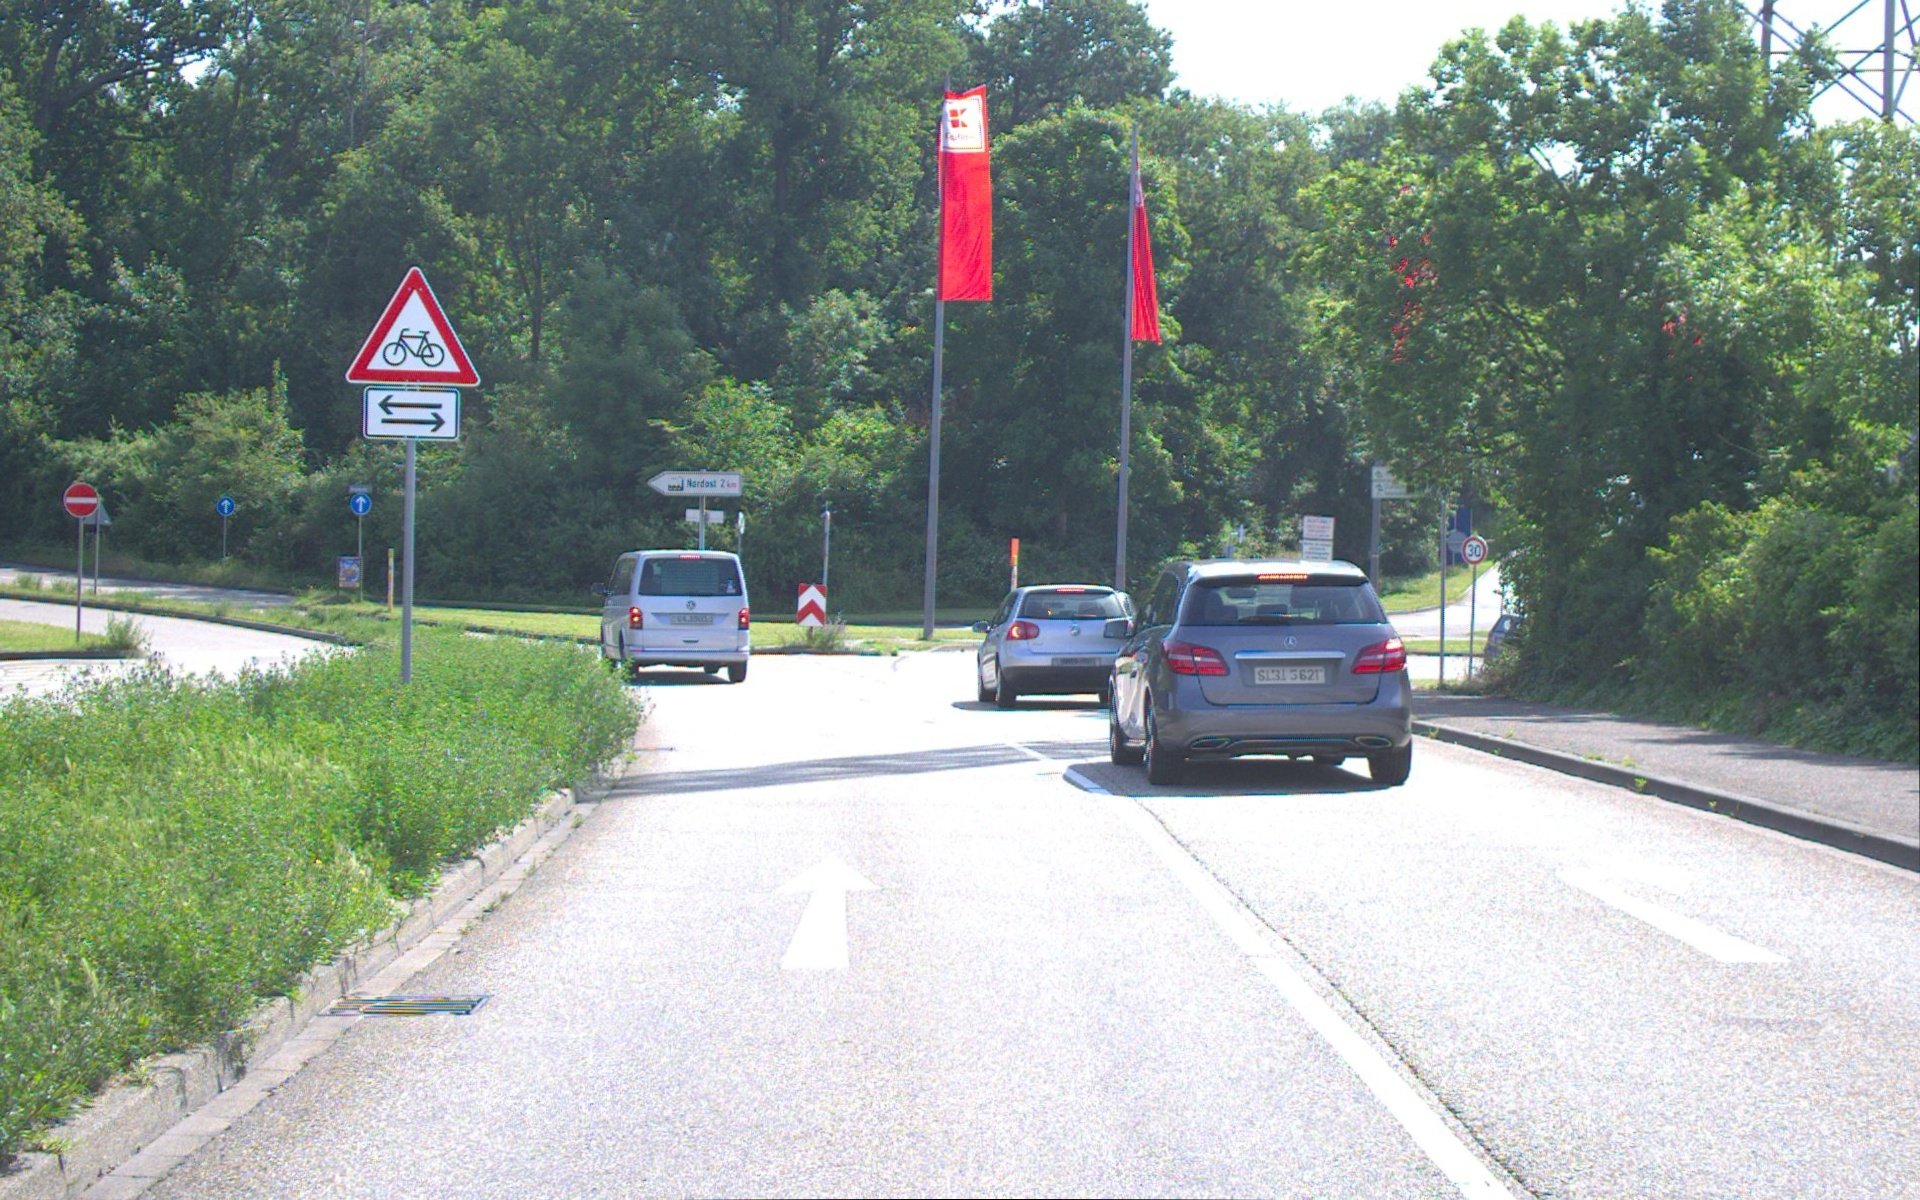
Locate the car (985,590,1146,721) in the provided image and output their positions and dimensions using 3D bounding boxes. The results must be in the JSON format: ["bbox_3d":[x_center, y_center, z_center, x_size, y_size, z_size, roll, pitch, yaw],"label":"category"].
[{"bbox_3d":[1.253,0.645,42.273,1.856,1.524,4.144,0,0,0],"label":"car"}]

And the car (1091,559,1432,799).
[{"bbox_3d":[2.048,0.513,24.464,1.856,1.524,4.144,-1,0,-2],"label":"car"}]

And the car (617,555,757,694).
[{"bbox_3d":[-4.141,0.334,52.168,2.039,2.007,4.001,0,1,-5],"label":"car"}]
